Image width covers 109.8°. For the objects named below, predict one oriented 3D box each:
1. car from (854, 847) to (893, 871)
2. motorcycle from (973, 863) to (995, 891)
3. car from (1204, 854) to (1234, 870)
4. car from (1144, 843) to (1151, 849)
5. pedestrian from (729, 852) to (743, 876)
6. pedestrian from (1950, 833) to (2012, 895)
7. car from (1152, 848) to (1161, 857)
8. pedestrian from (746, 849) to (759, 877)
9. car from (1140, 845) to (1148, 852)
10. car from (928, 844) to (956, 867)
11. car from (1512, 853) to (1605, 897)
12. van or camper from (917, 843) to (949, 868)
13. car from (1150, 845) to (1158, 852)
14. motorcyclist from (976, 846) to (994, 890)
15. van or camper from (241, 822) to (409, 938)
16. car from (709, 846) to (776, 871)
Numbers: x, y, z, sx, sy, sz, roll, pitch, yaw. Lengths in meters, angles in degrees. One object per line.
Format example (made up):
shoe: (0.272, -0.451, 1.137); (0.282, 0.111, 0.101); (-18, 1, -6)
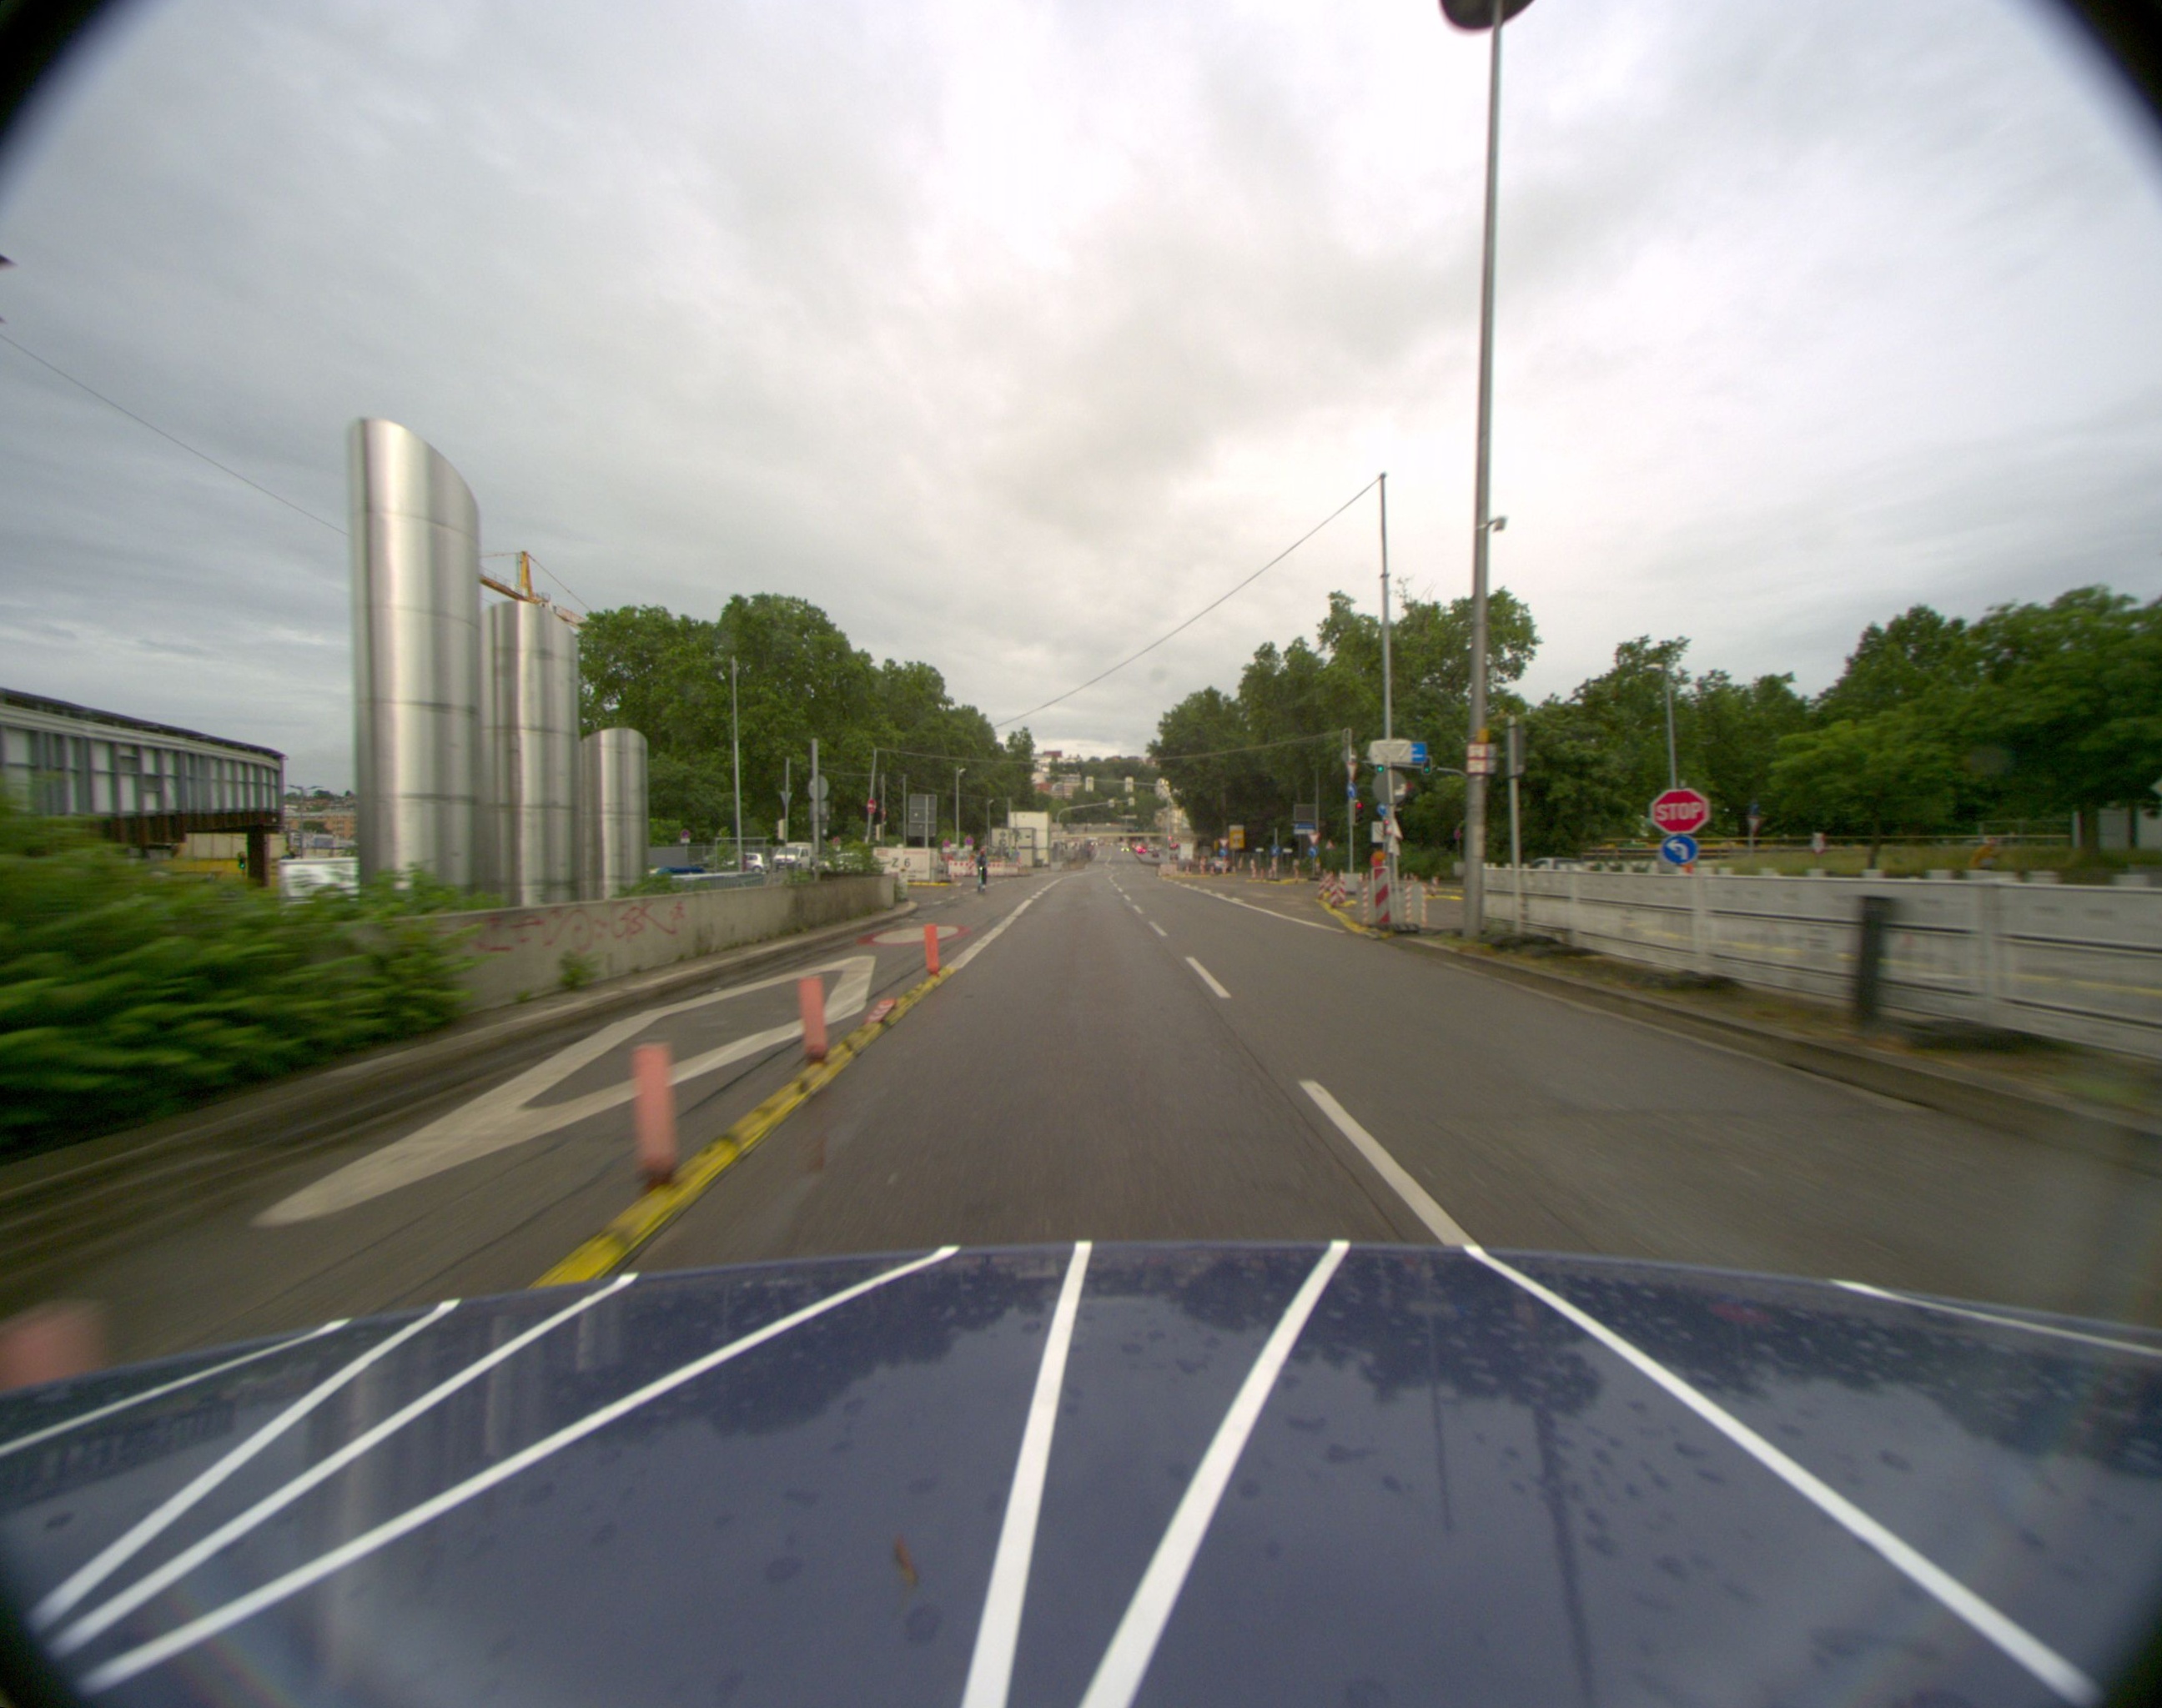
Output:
car: (-14.532, 0.349, 53.428); (2.000, 1.627, 4.187); (0, 0, -7)
motorcycle: (-4.487, 1.059, 35.358); (0.730, 1.221, 2.161); (0, 0, 0)
car: (13.885, 0.801, 76.865); (1.664, 1.533, 4.156); (-1, -1, -9)
car: (21.457, -2.616, 244.327); (1.998, 2.002, 4.000); (-2, 0, 2)
pedestrian: (-22.937, 0.682, 50.521); (0.652, 1.565, 0.662); (0, 0, -7)
pedestrian: (25.796, 0.305, 21.793); (0.558, 1.714, 0.951); (-1, -2, 0)
car: (18.960, -0.406, 191.398); (1.998, 2.002, 4.000); (-2, 0, 2)
pedestrian: (-21.869, 0.593, 50.557); (0.652, 1.860, 0.662); (0, 0, -7)
car: (17.578, -1.458, 213.394); (1.998, 2.002, 4.000); (-2, 0, 2)
car: (-12.819, 0.174, 70.348); (1.999, 2.054, 4.189); (0, 0, -2)
car: (18.182, 0.741, 29.077); (1.682, 1.534, 3.174); (0, 1, 4)
van or camper: (-12.529, 0.154, 64.677); (2.123, 2.017, 5.011); (0, 0, -4)
car: (21.710, -1.637, 224.819); (1.998, 2.002, 4.000); (-2, 0, 2)
motorcyclist: (-4.479, 0.652, 35.404); (0.726, 2.024, 0.587); (0, 0, 0)
van or camper: (-18.268, 0.548, 18.699); (2.391, 2.388, 6.046); (0, 0, -40)
car: (-23.032, 0.298, 51.791); (3.729, 1.627, 1.999); (0, 0, -7)
